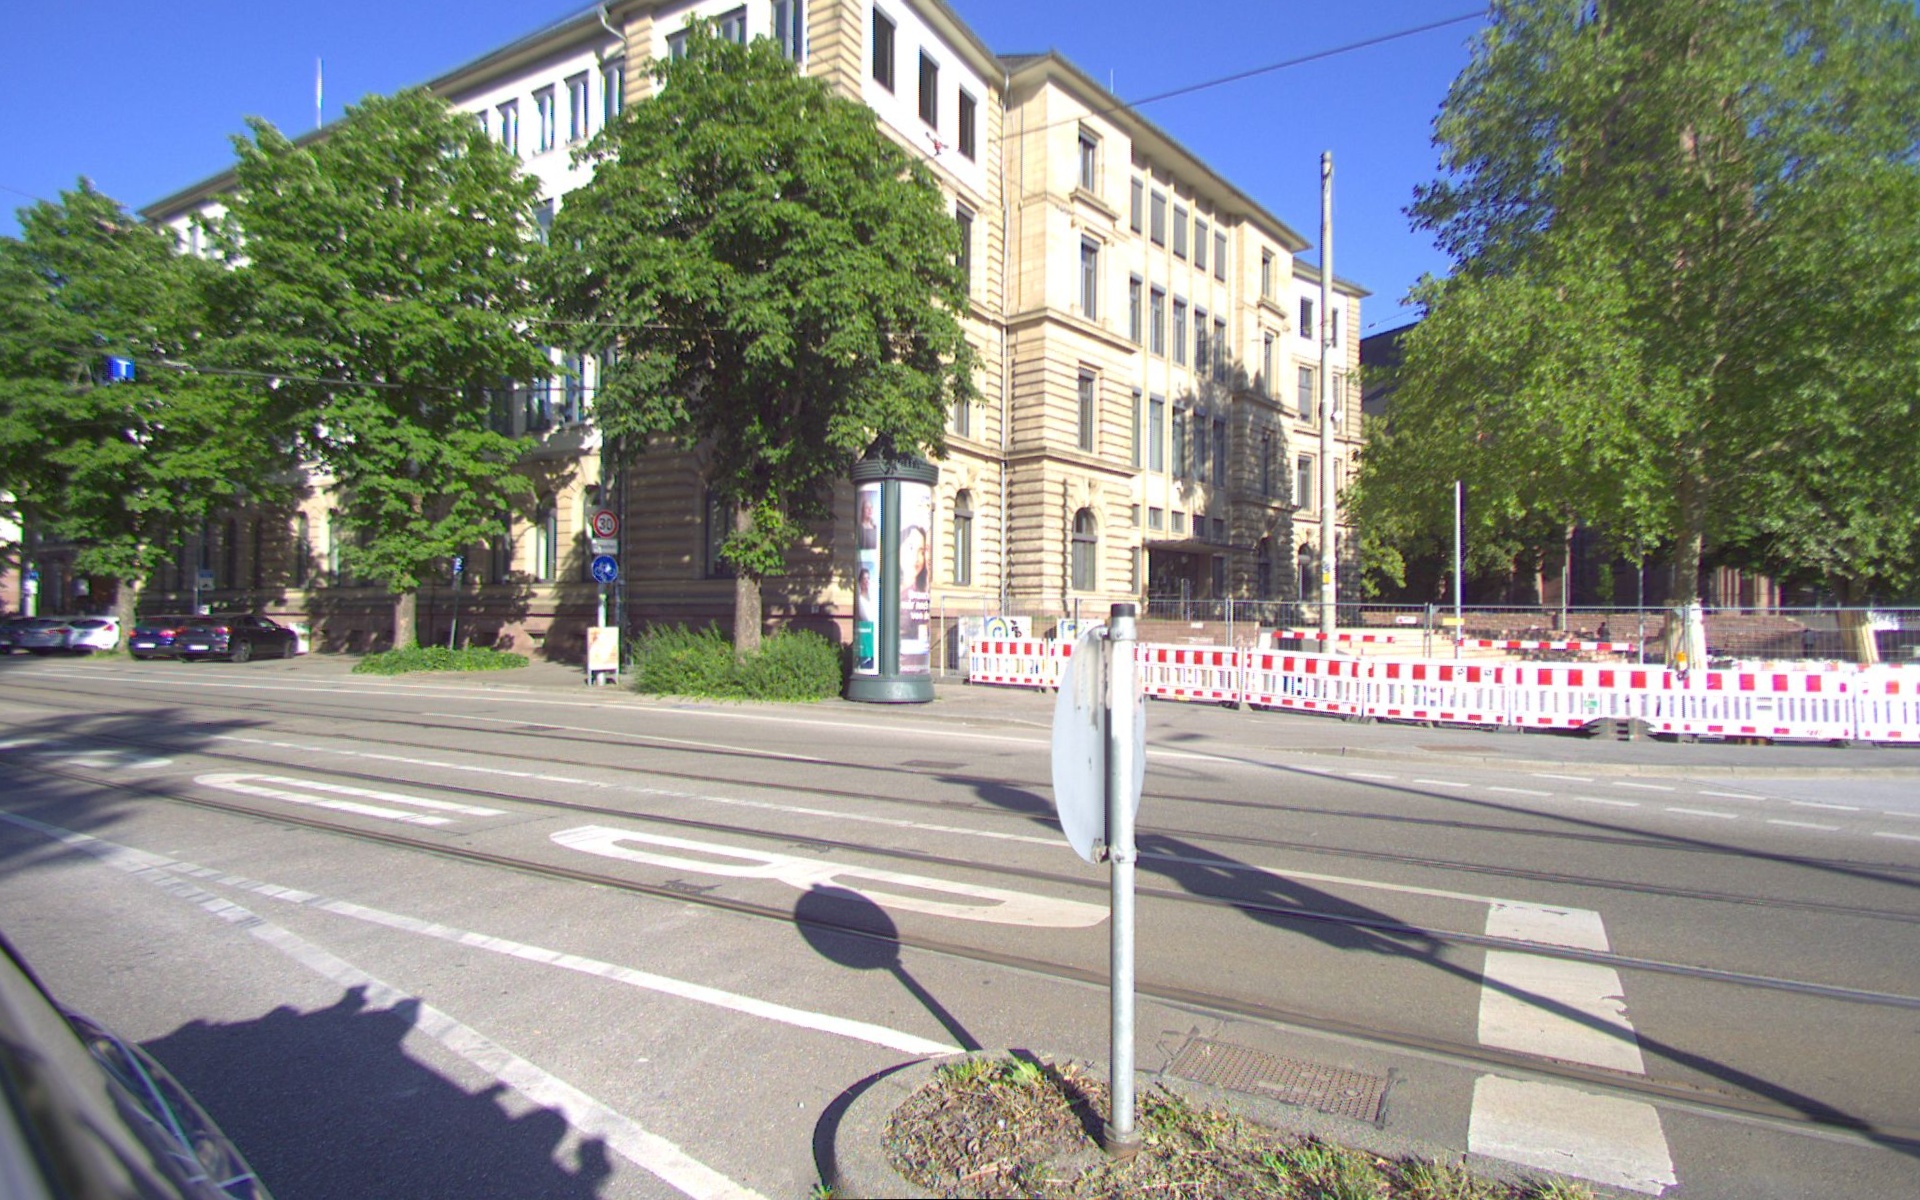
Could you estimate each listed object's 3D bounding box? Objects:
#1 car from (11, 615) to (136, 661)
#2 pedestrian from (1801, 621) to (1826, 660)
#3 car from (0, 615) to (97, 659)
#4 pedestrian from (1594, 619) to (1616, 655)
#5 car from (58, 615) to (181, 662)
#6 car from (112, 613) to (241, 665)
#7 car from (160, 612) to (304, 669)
[{"bbox_3d":[-33.229,1.393,38.066,1.626,1.572,3.652,-1,0,-3],"label":"car"},{"bbox_3d":[36.901,1.727,43.757,0.666,1.660,0.762,1,-2,-45],"label":"pedestrian"},{"bbox_3d":[-36.245,1.416,39.774,1.626,1.572,3.652,-1,0,-3],"label":"car"},{"bbox_3d":[30.471,1.731,47.815,0.627,1.660,0.677,1,-2,-37],"label":"pedestrian"},{"bbox_3d":[-30.916,1.375,37.355,1.626,1.572,3.652,-1,0,-3],"label":"car"},{"bbox_3d":[-26.245,1.272,34.038,1.626,1.572,3.652,-1,0,-3],"label":"car"},{"bbox_3d":[-23.615,1.263,33.036,1.819,1.643,4.184,-1,0,-3],"label":"car"}]
